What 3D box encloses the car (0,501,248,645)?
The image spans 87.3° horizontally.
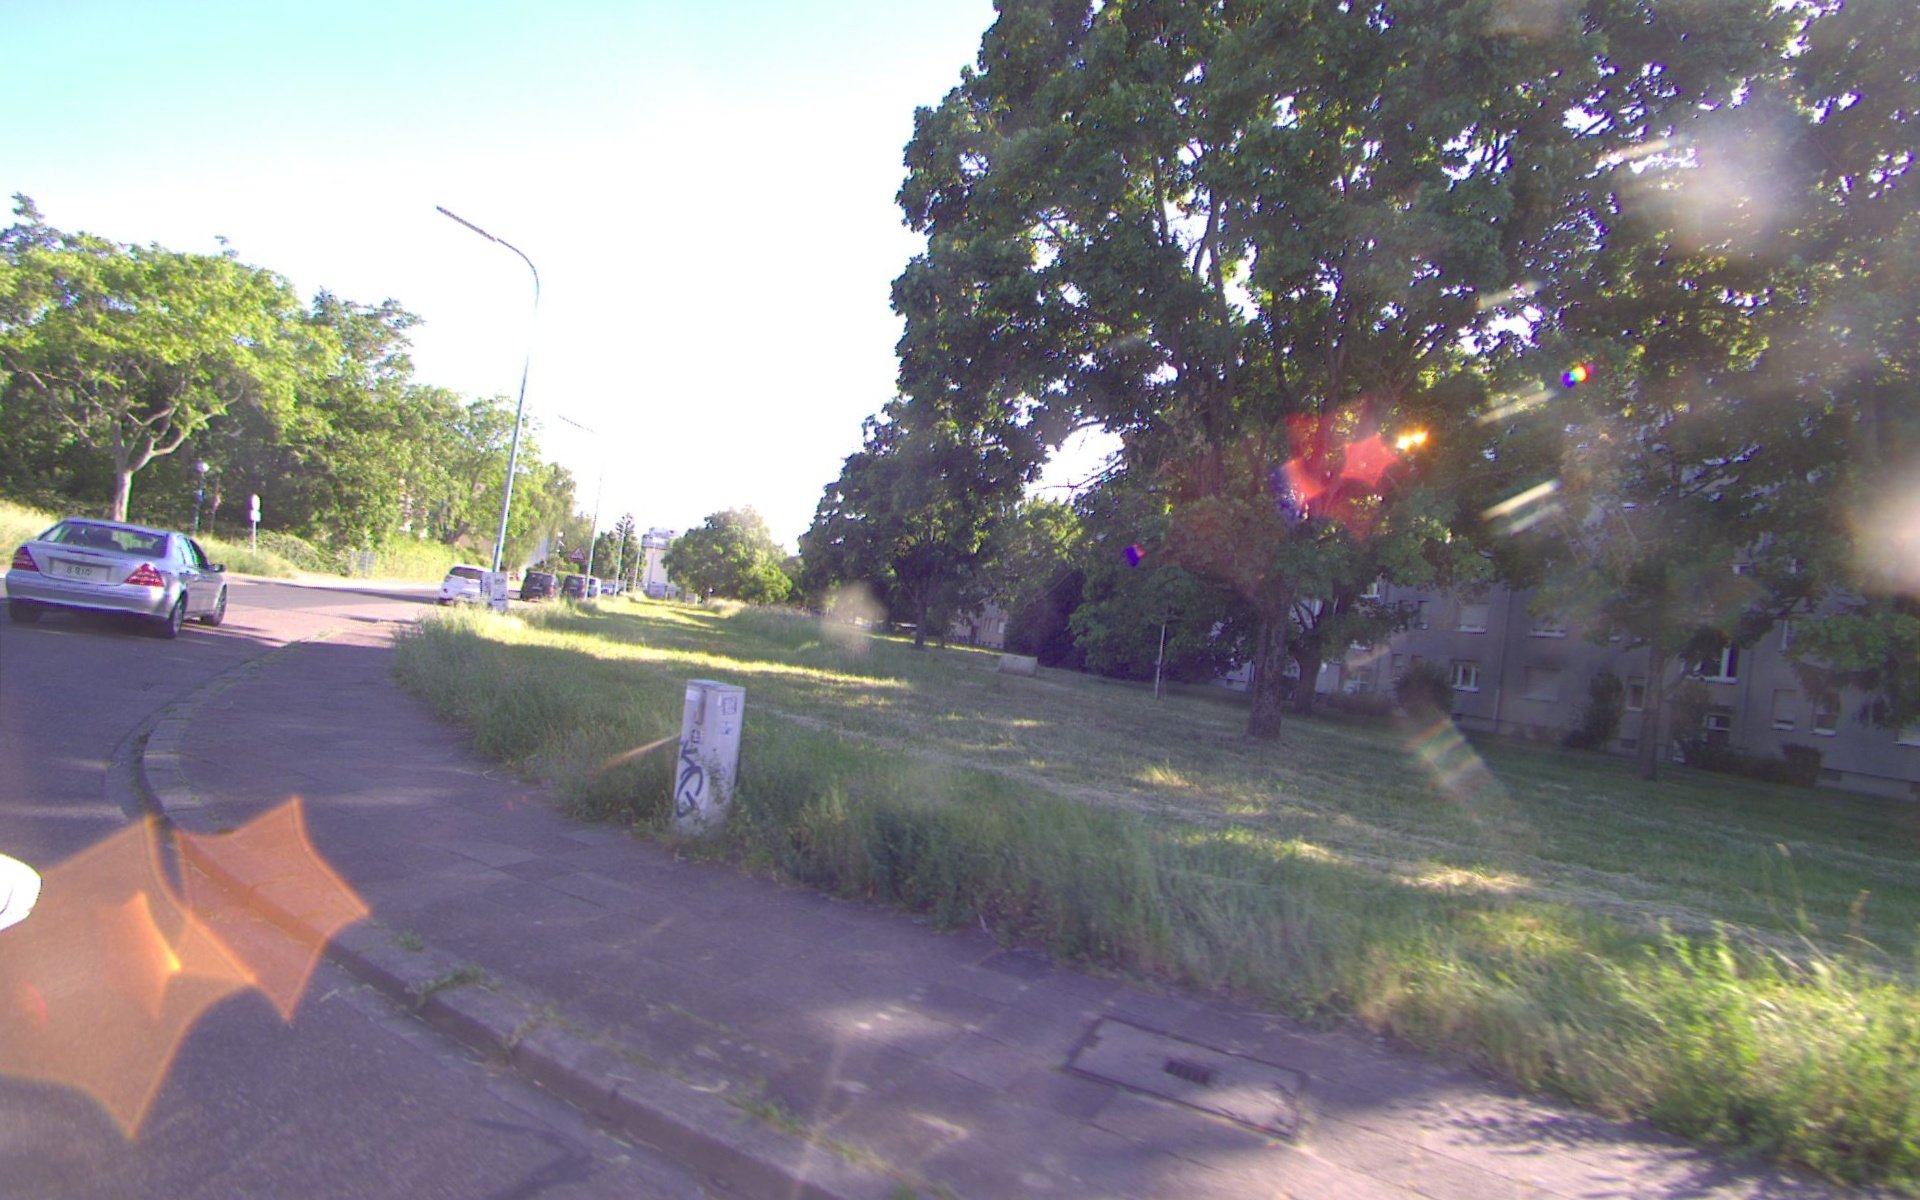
[{"bbox_3d":[-11.643,-0.394,14.113,1.801,1.480,4.334,9,-2,-26],"label":"car"}]

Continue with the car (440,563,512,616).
[{"bbox_3d":[-16.998,-0.359,35.492,1.704,1.495,3.726,10,-3,-19],"label":"car"}]

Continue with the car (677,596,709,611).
[{"bbox_3d":[-35.244,0.489,133.013,3.647,1.457,1.702,8,-3,-1],"label":"car"}]

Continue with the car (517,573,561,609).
[{"bbox_3d":[-22.798,-0.493,54.542,1.679,1.630,3.985,7,-1,-18],"label":"car"}]

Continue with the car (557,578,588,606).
[{"bbox_3d":[-29.082,-0.616,75.567,1.680,1.779,3.837,10,-2,-17],"label":"car"}]

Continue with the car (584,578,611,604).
[{"bbox_3d":[-30.944,-0.781,85.863,1.680,1.872,3.837,10,-2,-17],"label":"car"}]

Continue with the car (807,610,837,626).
[{"bbox_3d":[-18.483,2.453,135.054,3.647,1.635,1.702,7,-3,-1],"label":"car"}]
